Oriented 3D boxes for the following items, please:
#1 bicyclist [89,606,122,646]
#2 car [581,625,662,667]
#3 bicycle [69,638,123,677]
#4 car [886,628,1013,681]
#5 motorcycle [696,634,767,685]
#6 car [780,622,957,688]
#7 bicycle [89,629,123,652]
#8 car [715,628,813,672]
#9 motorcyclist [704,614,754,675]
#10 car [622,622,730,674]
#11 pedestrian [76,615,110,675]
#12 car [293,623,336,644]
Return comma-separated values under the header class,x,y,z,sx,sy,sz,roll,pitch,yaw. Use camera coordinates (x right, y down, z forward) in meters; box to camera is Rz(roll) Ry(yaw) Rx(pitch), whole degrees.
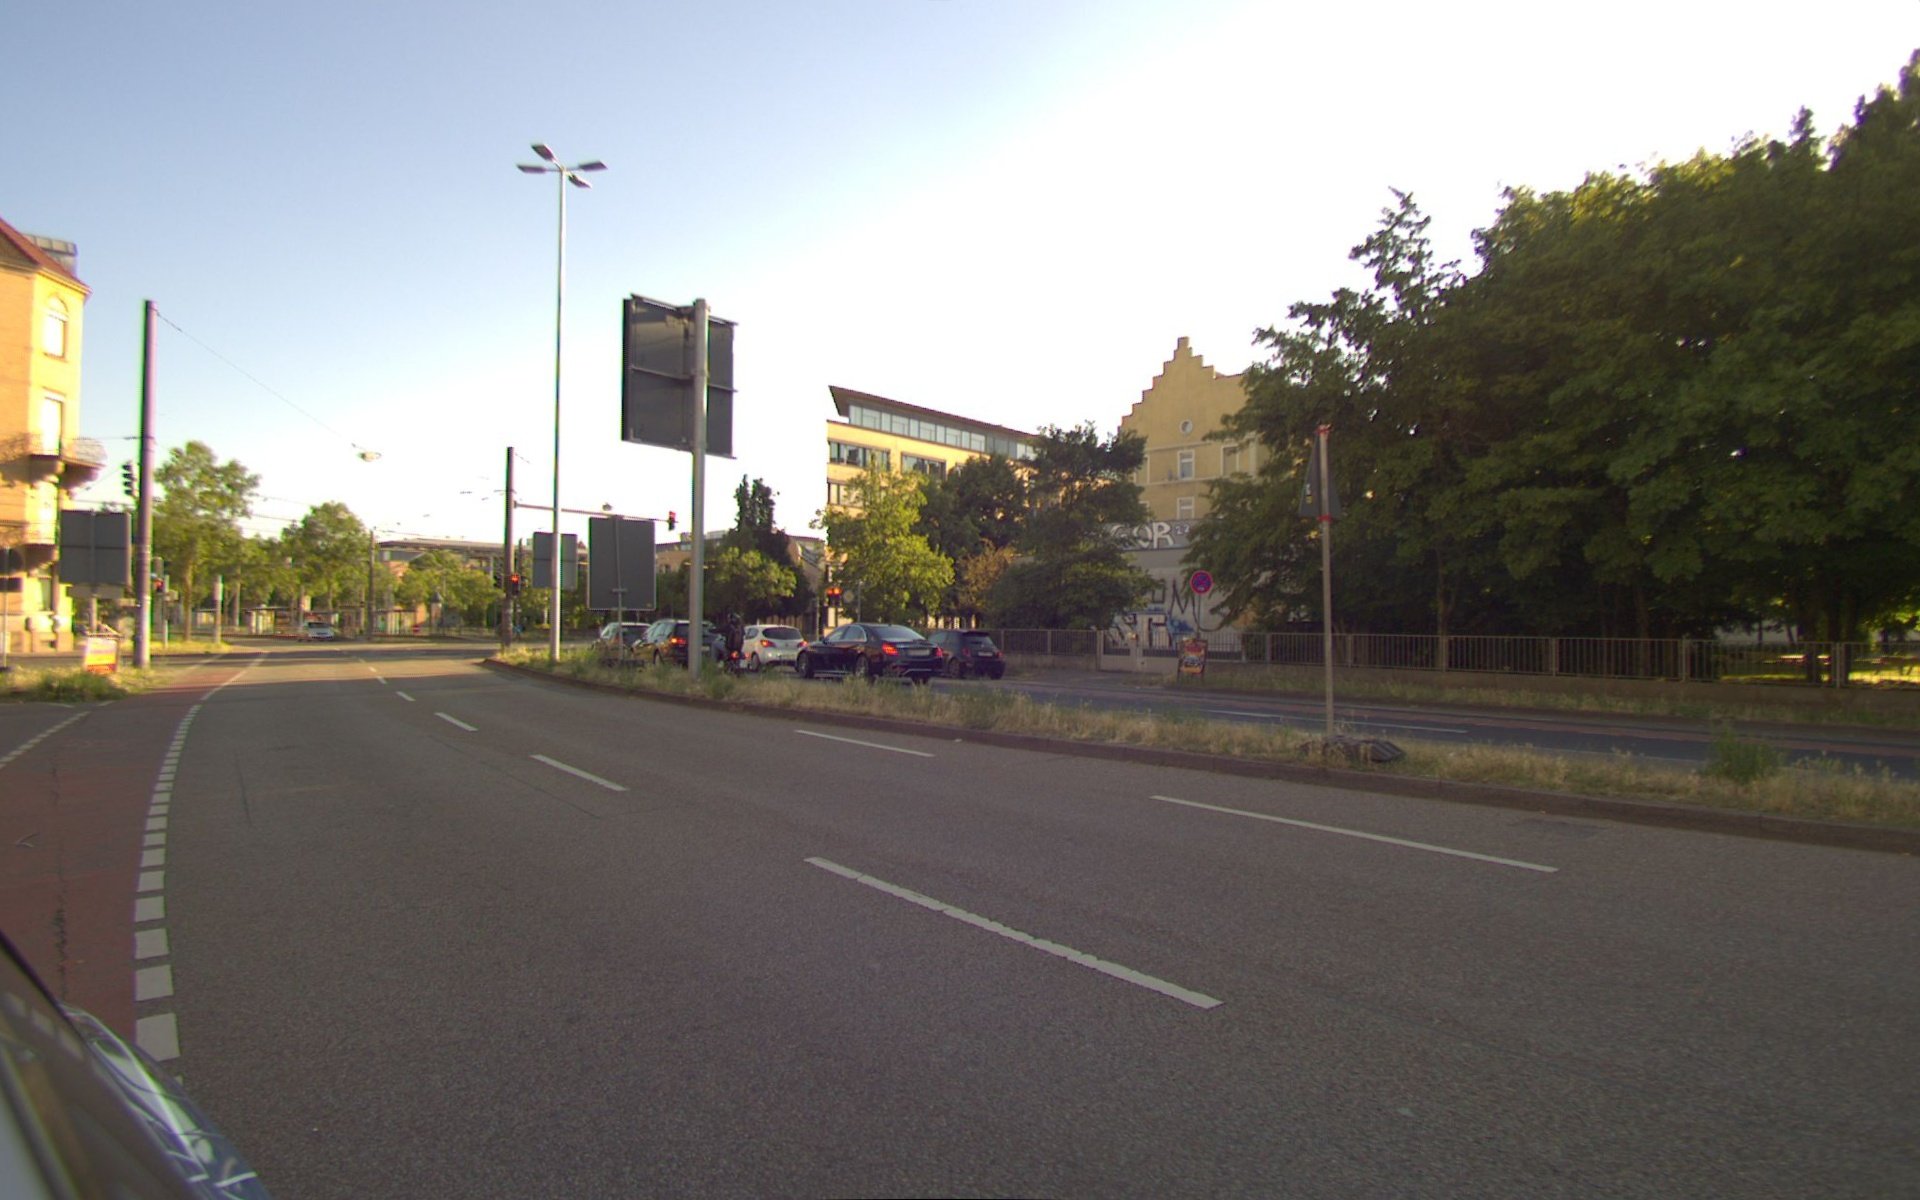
class,x,y,z,sx,sy,sz,roll,pitch,yaw
bicyclist,-39.807,1.208,47.161,1.056,1.856,1.304,2,-3,-43
car,-11.351,1.488,33.724,1.695,1.306,4.261,2,-2,-30
bicycle,-23.889,1.573,28.010,0.393,1.037,1.676,1,-2,-13
car,-0.375,1.597,30.575,1.829,1.475,4.008,1,-2,-37
motorcycle,-5.455,1.383,24.023,0.847,1.116,2.477,2,-2,-32
car,-2.488,1.350,25.991,1.968,1.507,5.302,2,-2,-38
bicycle,-39.829,1.880,47.177,1.056,1.032,2.978,2,-3,-43
car,-6.368,1.578,32.566,1.695,1.329,3.904,2,-2,-34
motorcyclist,-5.525,1.057,24.150,0.840,1.409,1.064,2,-2,-32
car,-7.928,1.287,27.988,1.695,1.306,4.389,2,-2,-32
pedestrian,-24.013,1.255,28.033,0.481,1.644,0.527,1,-2,-13
car,-49.878,2.564,78.149,4.002,1.586,1.971,-1,-3,45
